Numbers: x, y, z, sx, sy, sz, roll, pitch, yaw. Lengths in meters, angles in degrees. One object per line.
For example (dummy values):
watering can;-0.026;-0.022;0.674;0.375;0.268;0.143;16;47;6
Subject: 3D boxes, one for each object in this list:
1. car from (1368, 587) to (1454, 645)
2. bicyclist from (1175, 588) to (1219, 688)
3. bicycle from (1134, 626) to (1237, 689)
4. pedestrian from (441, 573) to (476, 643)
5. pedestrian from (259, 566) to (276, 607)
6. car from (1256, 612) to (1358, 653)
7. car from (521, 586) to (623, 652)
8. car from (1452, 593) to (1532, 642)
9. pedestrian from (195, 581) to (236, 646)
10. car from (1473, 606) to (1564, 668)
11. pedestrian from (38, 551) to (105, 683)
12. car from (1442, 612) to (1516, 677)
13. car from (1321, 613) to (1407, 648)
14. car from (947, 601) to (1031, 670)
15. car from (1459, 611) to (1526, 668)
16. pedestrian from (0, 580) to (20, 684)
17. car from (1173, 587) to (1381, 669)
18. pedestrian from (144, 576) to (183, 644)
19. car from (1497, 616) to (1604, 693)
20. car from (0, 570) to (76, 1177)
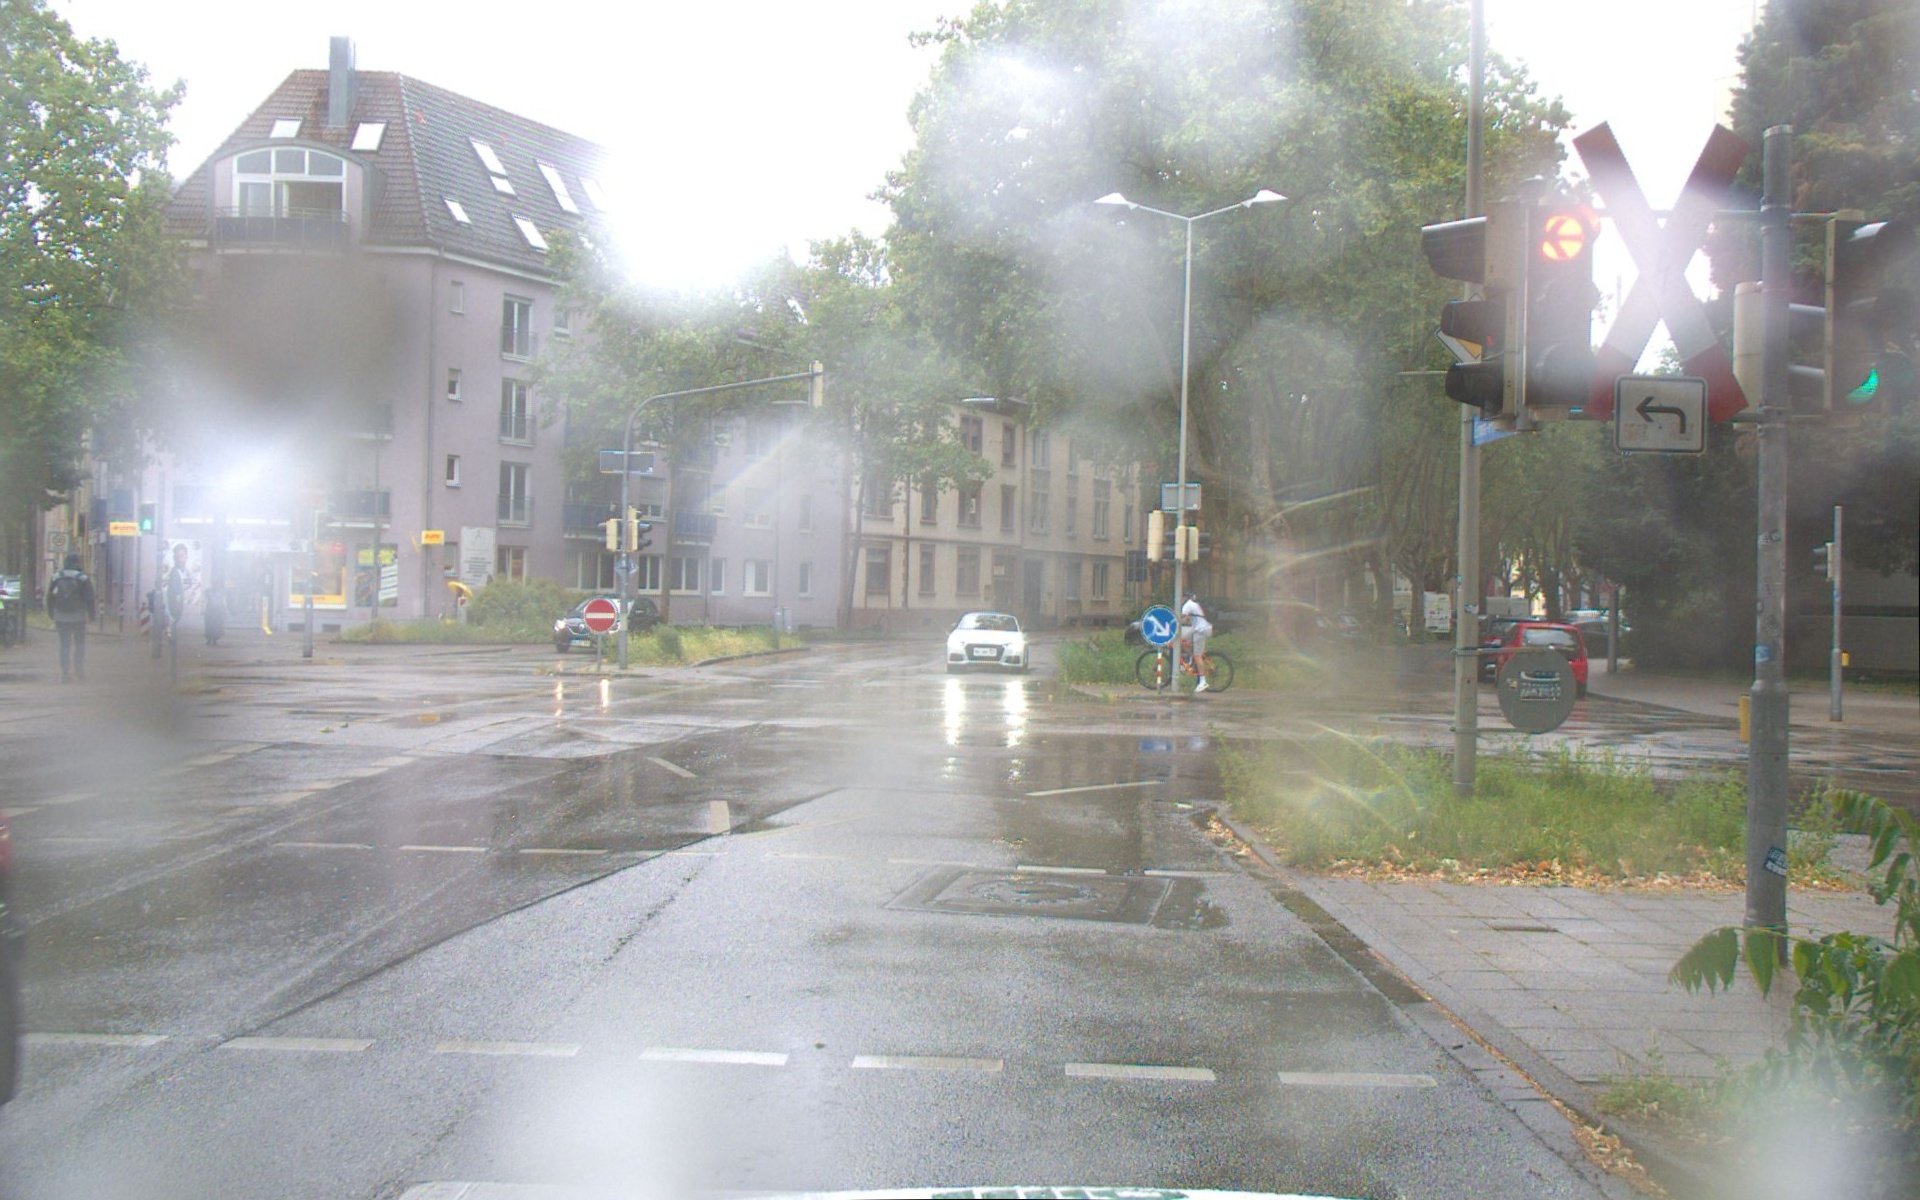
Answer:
car;23.950;0.848;88.069;2.005;2.999;4.742;1;0;-21
bicyclist;4.354;0.693;30.421;0.778;1.817;0.697;1;-1;7
bicycle;4.141;1.048;30.442;1.833;1.100;0.657;1;0;7
pedestrian;-15.932;0.263;52.502;0.897;2.188;0.879;1;-1;-27
pedestrian;-22.655;-0.440;54.107;0.437;1.353;0.559;1;-1;-18
car;13.766;1.281;65.652;3.902;1.512;2.002;1;0;12
car;-9.633;0.443;41.347;1.716;1.538;3.838;1;0;-2
car;33.666;1.087;104.812;1.974;3.000;4.720;1;0;-31
pedestrian;-18.373;0.330;40.849;0.736;1.560;0.789;1;-1;-12
car;13.889;0.875;41.306;1.745;1.371;3.932;2;1;13
pedestrian;-12.959;0.243;24.153;0.777;1.888;0.676;1;0;-25
car;14.982;1.252;47.909;1.745;1.757;4.003;1;0;13
car;19.257;1.441;78.927;3.902;1.574;2.002;1;0;12
car;0.691;0.794;39.118;1.845;1.461;4.001;1;0;1
car;18.339;1.330;57.088;1.881;1.837;4.003;1;0;13
pedestrian;-13.515;0.436;23.053;0.643;1.420;0.773;1;0;-35
car;6.278;0.533;32.794;3.902;1.512;2.002;1;0;12
pedestrian;-19.253;0.239;39.987;0.662;1.628;0.964;1;-1;-16
car;13.044;1.160;36.736;1.754;1.524;4.003;1;0;13
car;-3.121;0.650;2.457;1.679;1.485;3.746;1;0;-2
